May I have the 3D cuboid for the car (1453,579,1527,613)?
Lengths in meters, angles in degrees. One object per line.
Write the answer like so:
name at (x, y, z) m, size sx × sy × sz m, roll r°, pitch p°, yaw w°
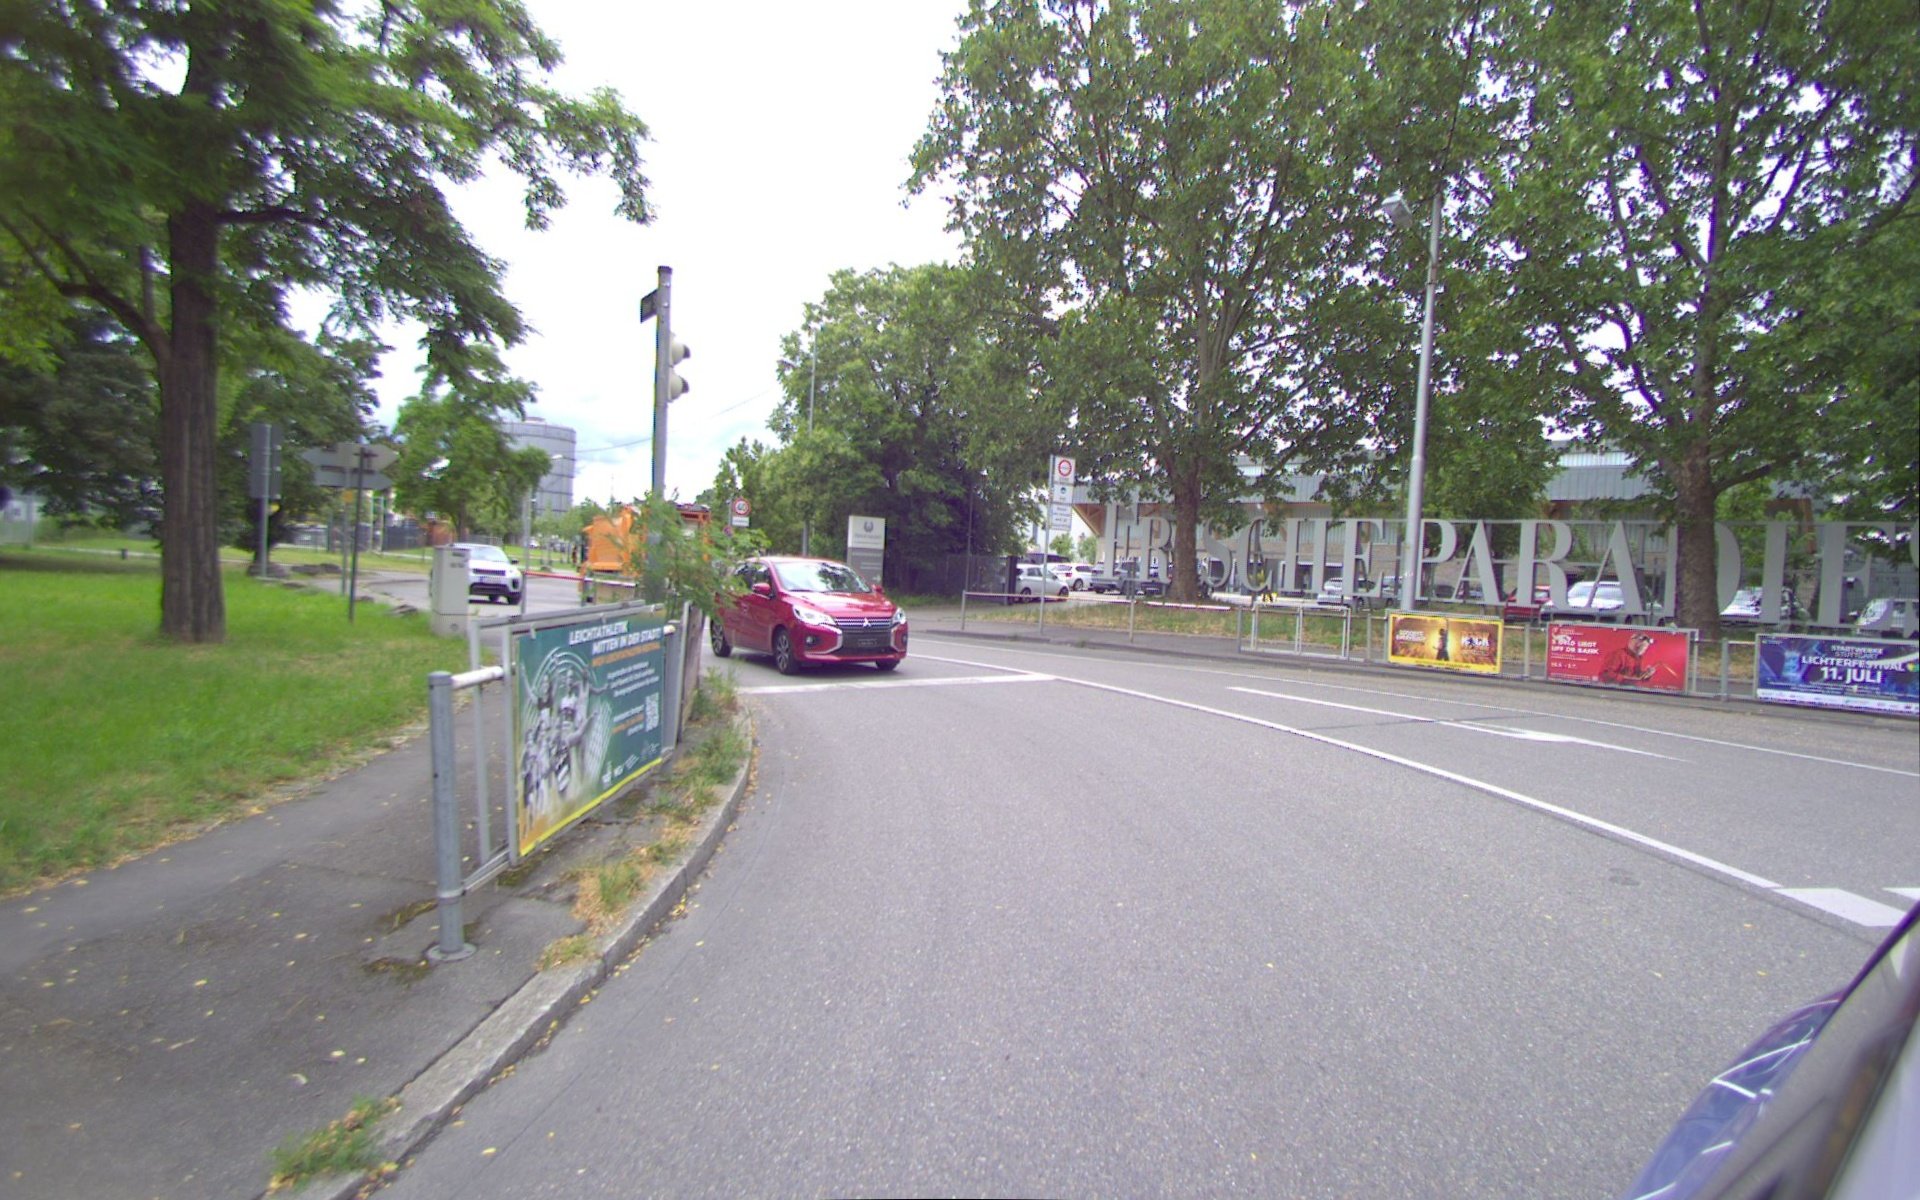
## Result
car at (28.082, -0.176, 53.569) m, size 4.560 × 1.580 × 1.997 m, roll 2°, pitch 2°, yaw -42°

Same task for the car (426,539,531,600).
car at (-13.516, -0.901, 28.291) m, size 2.009 × 1.554 × 3.943 m, roll -2°, pitch 4°, yaw -35°

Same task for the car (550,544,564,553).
car at (-76.234, -9.752, 191.545) m, size 2.005 × 1.555 × 3.950 m, roll 4°, pitch 1°, yaw -26°

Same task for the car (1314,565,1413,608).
car at (17.060, -0.549, 42.699) m, size 4.560 × 1.580 × 1.997 m, roll 2°, pitch 2°, yaw -42°

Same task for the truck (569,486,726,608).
truck at (-11.255, -1.768, 35.503) m, size 2.742 × 3.570 × 10.433 m, roll 2°, pitch 1°, yaw -31°

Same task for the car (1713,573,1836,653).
car at (19.090, 0.329, 23.652) m, size 4.244 × 1.633 × 1.589 m, roll 2°, pitch 2°, yaw -43°

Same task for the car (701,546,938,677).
car at (-2.053, 0.053, 13.816) m, size 1.699 × 1.483 × 3.838 m, roll 0°, pitch 3°, yaw -33°

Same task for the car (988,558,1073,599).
car at (3.005, -0.899, 42.788) m, size 1.477 × 1.523 × 3.670 m, roll 5°, pitch 2°, yaw 44°

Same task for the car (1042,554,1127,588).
car at (6.773, -1.536, 54.653) m, size 4.560 × 1.577 × 1.997 m, roll 2°, pitch 2°, yaw -42°

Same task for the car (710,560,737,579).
car at (-19.266, -2.478, 82.377) m, size 1.682 × 1.424 × 3.376 m, roll 3°, pitch 1°, yaw -6°

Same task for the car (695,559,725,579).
car at (-19.015, -2.345, 77.122) m, size 1.682 × 1.424 × 3.376 m, roll 3°, pitch 1°, yaw -6°

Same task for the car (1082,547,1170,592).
car at (8.539, -1.541, 51.833) m, size 4.560 × 2.038 × 1.997 m, roll 2°, pitch 2°, yaw -42°

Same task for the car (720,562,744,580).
car at (-19.821, -2.516, 88.087) m, size 1.682 × 1.424 × 3.376 m, roll 3°, pitch 1°, yaw -6°

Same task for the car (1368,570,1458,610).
car at (20.573, -0.425, 45.920) m, size 4.560 × 1.580 × 1.997 m, roll 2°, pitch 2°, yaw -42°

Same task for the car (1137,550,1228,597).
car at (10.899, -1.276, 49.464) m, size 4.560 × 2.038 × 1.997 m, roll 2°, pitch 2°, yaw -42°

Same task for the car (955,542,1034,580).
car at (2.159, -2.398, 62.637) m, size 4.740 × 2.038 × 1.997 m, roll 2°, pitch 2°, yaw -42°

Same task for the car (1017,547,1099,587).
car at (5.578, -1.854, 57.290) m, size 4.560 × 2.038 × 1.997 m, roll 2°, pitch 2°, yaw -42°

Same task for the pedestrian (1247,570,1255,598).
pedestrian at (19.306, -1.056, 67.105) m, size 0.338 × 1.787 × 0.434 m, roll 4°, pitch 0°, yaw 25°

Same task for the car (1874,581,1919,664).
car at (20.881, 0.539, 21.635) m, size 3.932 × 1.633 × 1.589 m, roll 2°, pitch 2°, yaw -43°

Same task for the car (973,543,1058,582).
car at (3.349, -2.201, 60.385) m, size 5.014 × 2.023 × 1.997 m, roll 2°, pitch 2°, yaw -42°

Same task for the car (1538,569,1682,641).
car at (17.018, 0.151, 26.417) m, size 4.445 × 1.633 × 1.882 m, roll 3°, pitch 2°, yaw -41°
